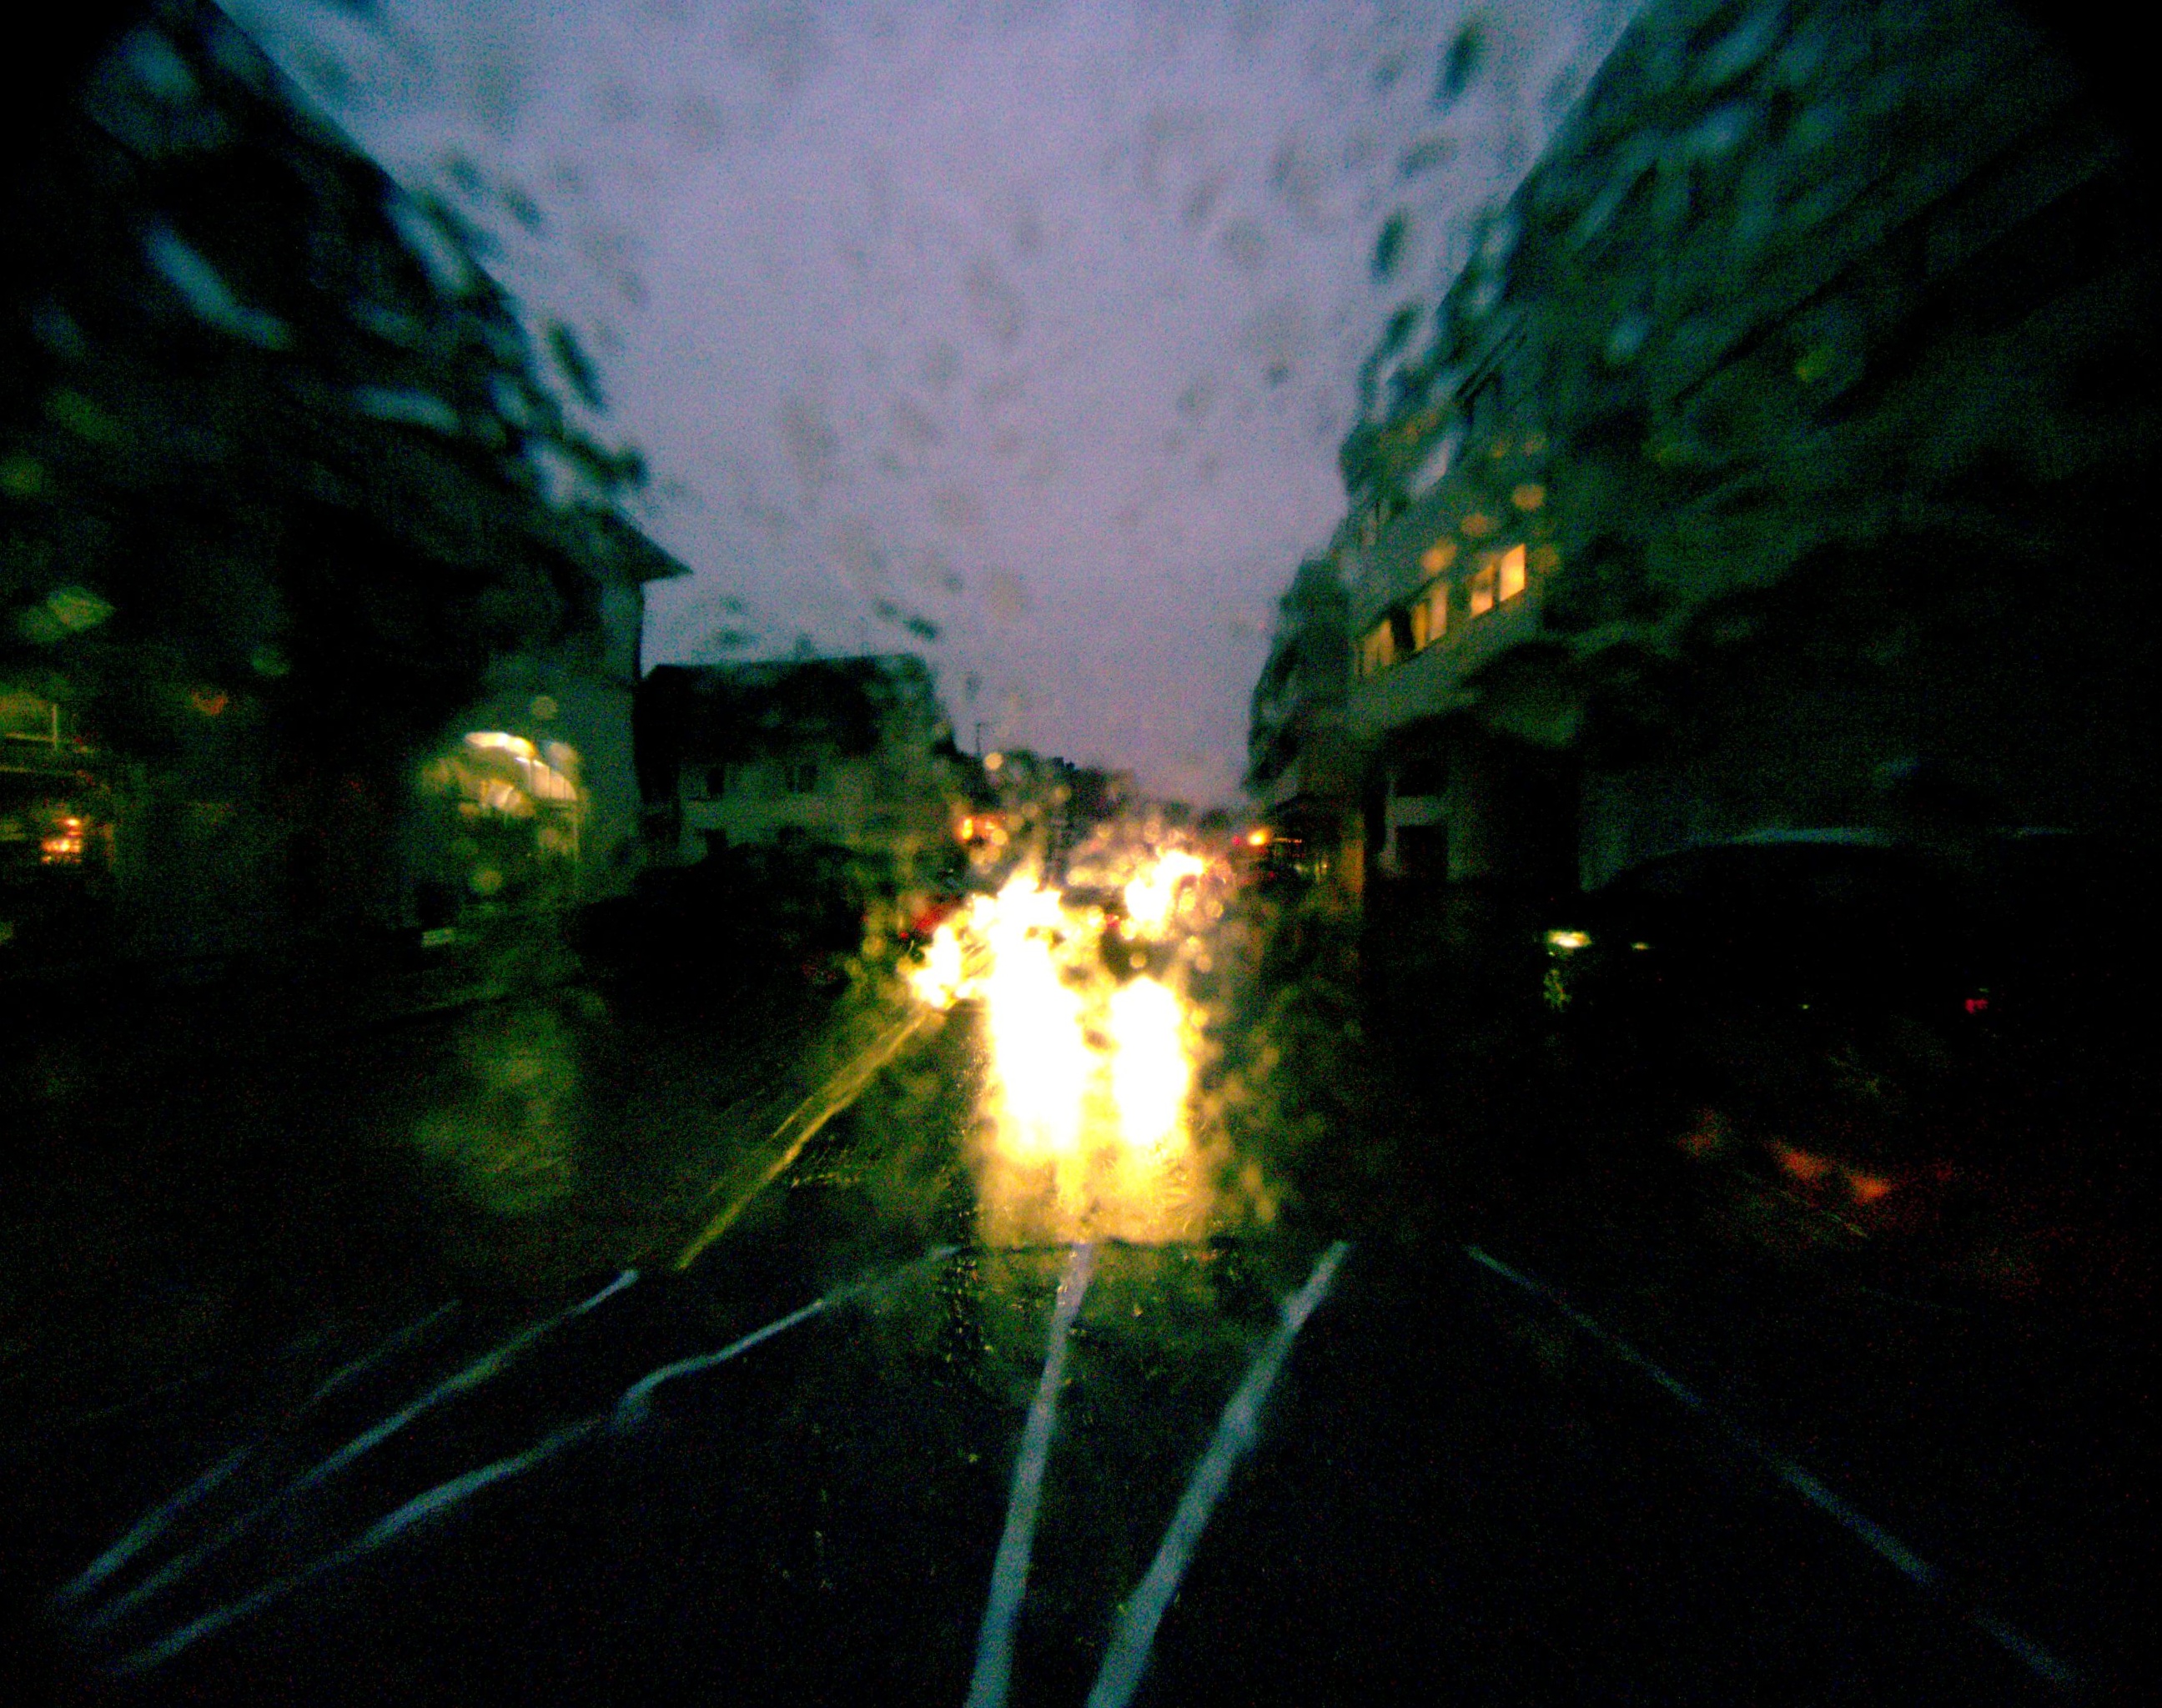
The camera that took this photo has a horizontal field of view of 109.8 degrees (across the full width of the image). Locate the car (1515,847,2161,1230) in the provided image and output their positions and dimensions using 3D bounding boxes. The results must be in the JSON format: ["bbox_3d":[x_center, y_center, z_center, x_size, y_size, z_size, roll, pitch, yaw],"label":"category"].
[{"bbox_3d":[4.965,0.807,5.216,1.799,1.633,3.812,-2,0,1],"label":"car"}]

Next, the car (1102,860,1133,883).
[{"bbox_3d":[2.660,1.246,54.716,1.797,1.501,4.003,1,0,8],"label":"car"}]

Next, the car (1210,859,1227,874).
[{"bbox_3d":[15.476,1.399,85.550,1.724,1.604,3.819,-2,-1,10],"label":"car"}]

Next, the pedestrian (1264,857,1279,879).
[{"bbox_3d":[12.006,0.881,47.940,0.757,1.302,0.829,-1,0,7],"label":"pedestrian"}]

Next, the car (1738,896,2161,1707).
[{"bbox_3d":[2.476,0.870,0.186,1.642,1.526,3.406,-1,0,-1],"label":"car"}]

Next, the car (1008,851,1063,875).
[{"bbox_3d":[-2.993,0.585,50.288,3.295,1.433,1.687,3,1,8],"label":"car"}]

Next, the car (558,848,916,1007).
[{"bbox_3d":[-3.919,0.821,9.170,3.514,1.671,1.715,2,0,-4],"label":"car"}]

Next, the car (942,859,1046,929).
[{"bbox_3d":[-2.094,0.921,19.621,1.886,1.538,4.672,1,0,3],"label":"car"}]

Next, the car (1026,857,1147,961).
[{"bbox_3d":[0.148,0.884,13.989,1.878,1.622,4.001,-1,0,2],"label":"car"}]

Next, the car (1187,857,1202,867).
[{"bbox_3d":[18.626,1.335,124.804,1.796,1.501,4.005,1,0,17],"label":"car"}]

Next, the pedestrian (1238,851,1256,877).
[{"bbox_3d":[12.428,0.752,56.890,1.200,1.927,0.978,0,0,16],"label":"pedestrian"}]

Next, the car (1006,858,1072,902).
[{"bbox_3d":[-1.494,0.935,28.901,1.798,1.452,4.532,1,0,6],"label":"car"}]

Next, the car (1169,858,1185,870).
[{"bbox_3d":[13.187,1.383,104.512,1.797,1.501,4.004,1,0,13],"label":"car"}]

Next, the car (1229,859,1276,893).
[{"bbox_3d":[7.907,0.975,35.311,1.678,1.438,4.430,-1,0,7],"label":"car"}]

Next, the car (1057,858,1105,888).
[{"bbox_3d":[0.067,0.947,39.851,1.826,1.415,4.611,2,1,8],"label":"car"}]

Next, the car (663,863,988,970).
[{"bbox_3d":[-3.849,0.926,12.053,4.478,1.464,1.898,1,0,0],"label":"car"}]
